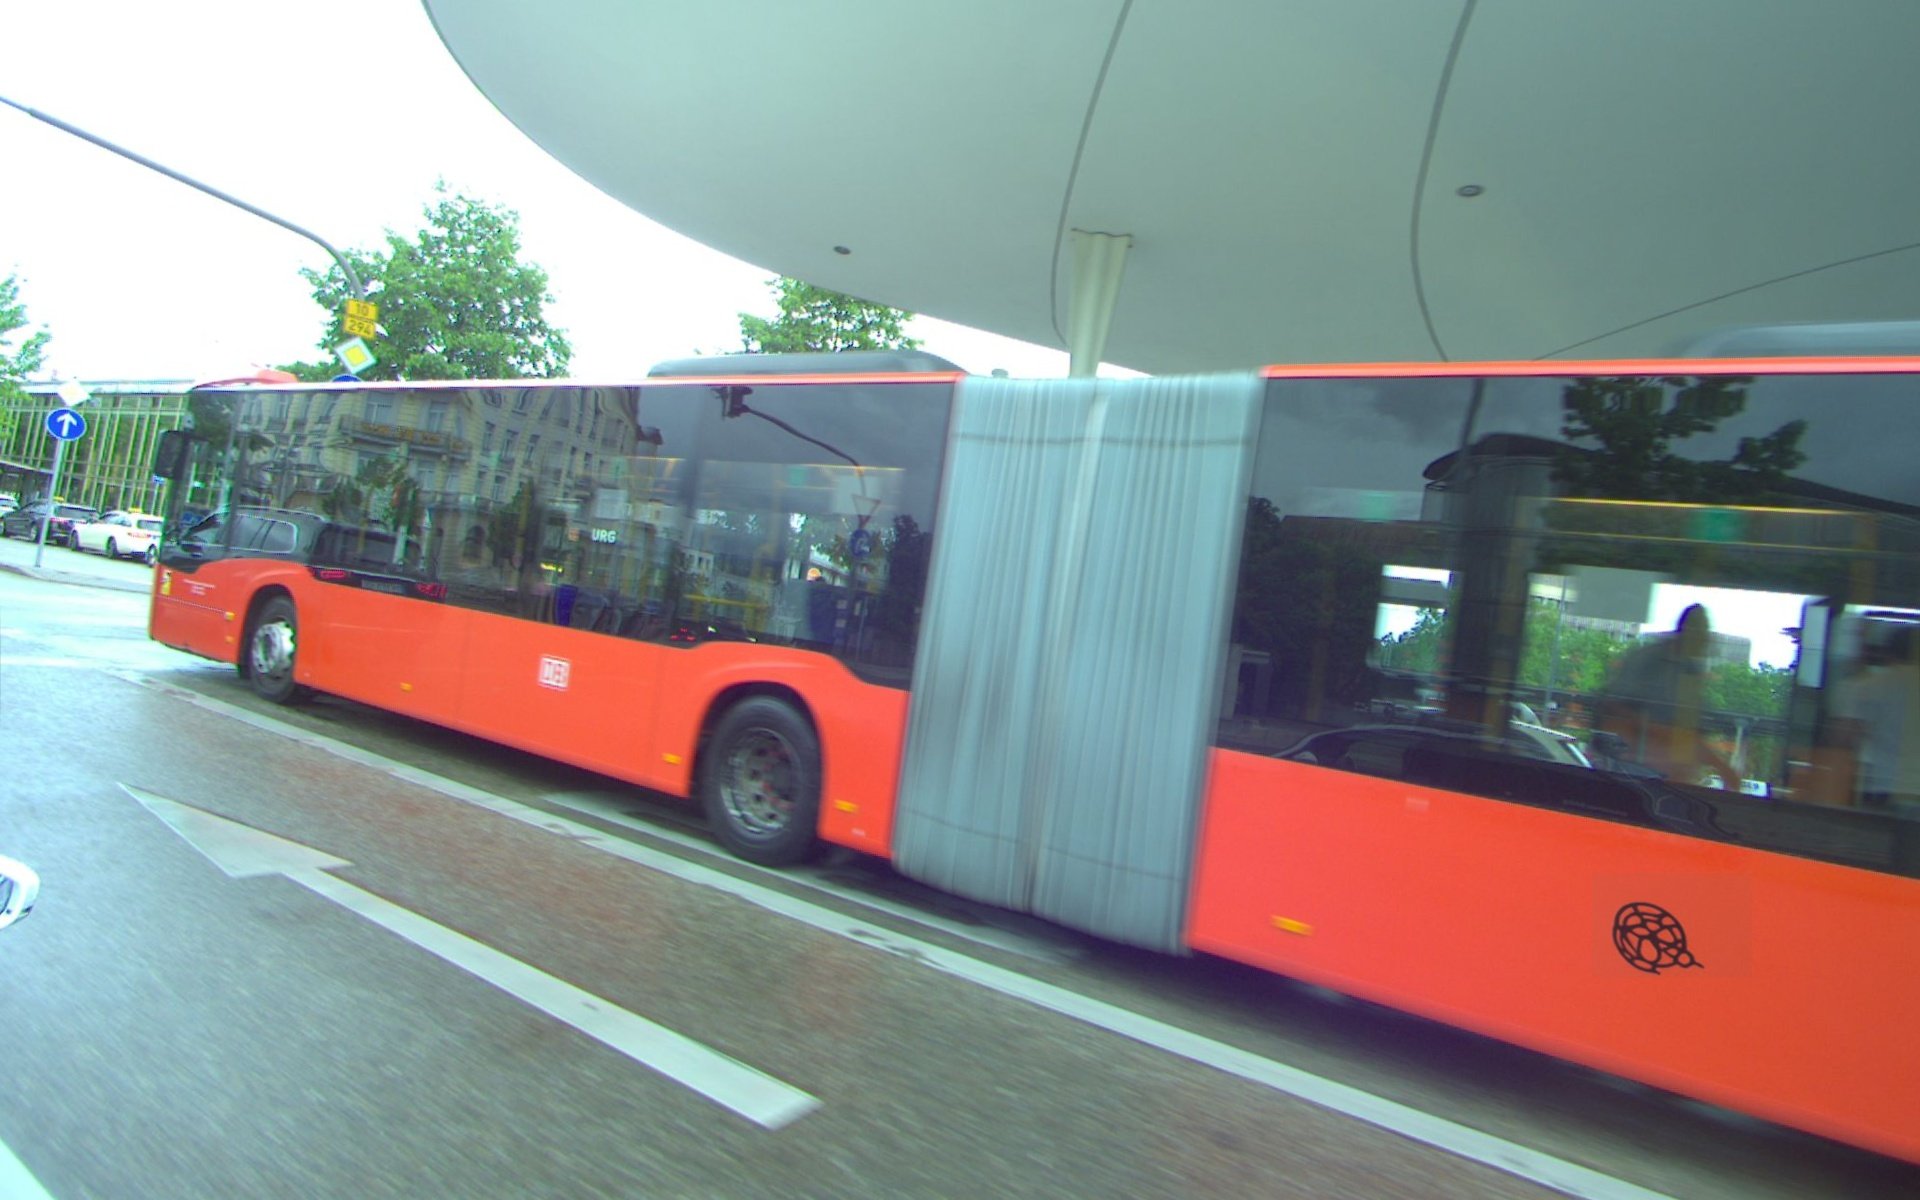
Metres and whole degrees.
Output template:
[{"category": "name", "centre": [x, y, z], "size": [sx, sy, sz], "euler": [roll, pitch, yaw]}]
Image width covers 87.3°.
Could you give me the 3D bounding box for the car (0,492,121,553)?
[{"category": "car", "centre": [-31.297, -2.697, 34.761], "size": [4.661, 1.542, 1.918], "euler": [7, -2, 30]}]

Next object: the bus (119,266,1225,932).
[{"category": "bus", "centre": [-3.252, -0.384, 8.610], "size": [10.025, 3.210, 2.748], "euler": [7, -1, 32]}]

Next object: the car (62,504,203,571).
[{"category": "car", "centre": [-26.030, -1.976, 31.606], "size": [4.587, 1.468, 1.851], "euler": [7, -2, 30]}]

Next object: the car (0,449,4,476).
[{"category": "car", "centre": [-10.937, -0.755, 9.144], "size": [4.611, 1.827, 1.997], "euler": [7, -1, 31]}]

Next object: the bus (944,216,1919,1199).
[{"category": "bus", "centre": [4.202, 0.590, 3.960], "size": [7.985, 3.211, 2.748], "euler": [7, -1, 32]}]

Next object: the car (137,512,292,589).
[{"category": "car", "centre": [-21.304, -1.427, 28.724], "size": [4.537, 1.608, 1.778], "euler": [7, -1, 30]}]

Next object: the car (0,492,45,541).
[{"category": "car", "centre": [-36.904, -3.356, 37.754], "size": [4.736, 1.618, 2.000], "euler": [7, -1, 25]}]

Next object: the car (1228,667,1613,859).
[{"category": "car", "centre": [6.152, 2.104, 13.702], "size": [4.359, 1.667, 1.806], "euler": [7, -4, 31]}]
